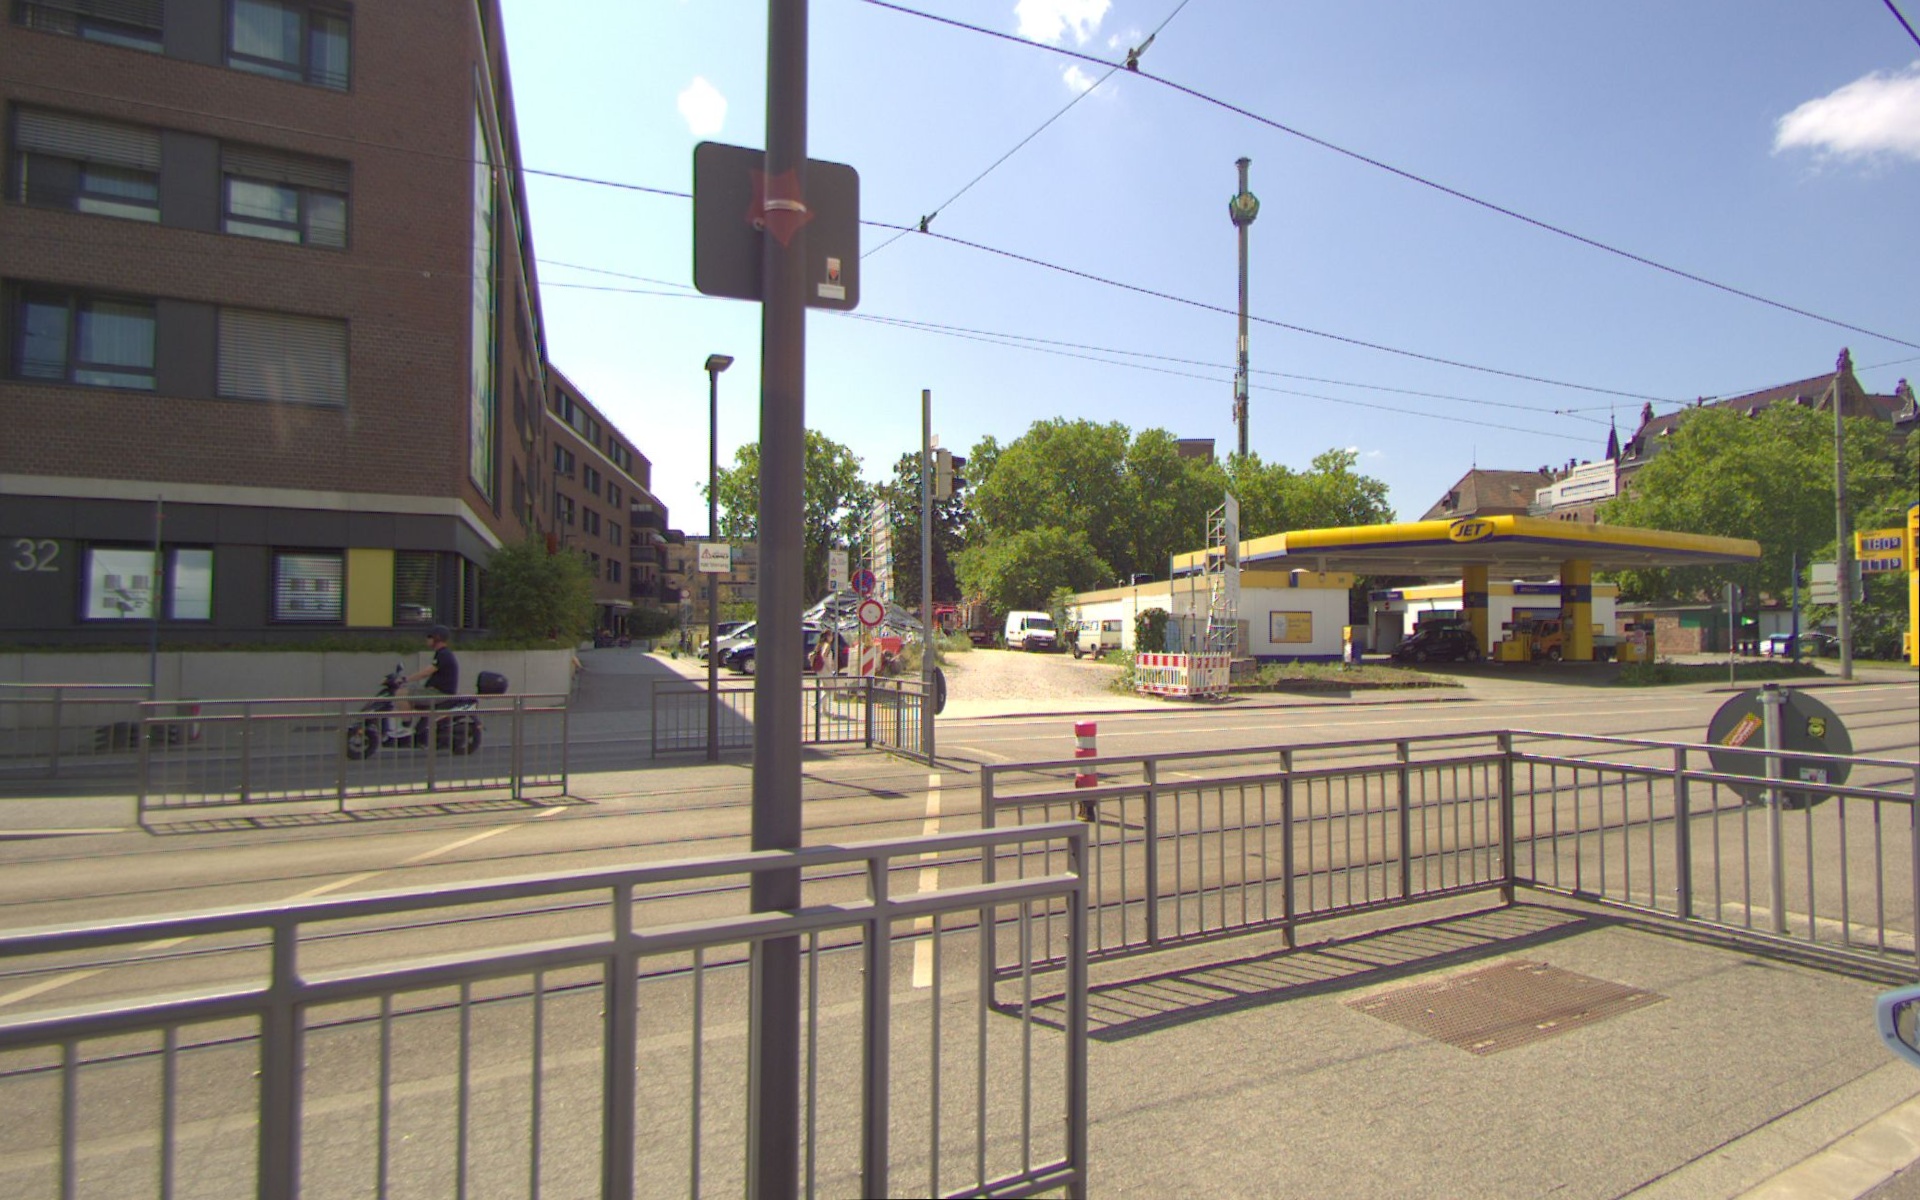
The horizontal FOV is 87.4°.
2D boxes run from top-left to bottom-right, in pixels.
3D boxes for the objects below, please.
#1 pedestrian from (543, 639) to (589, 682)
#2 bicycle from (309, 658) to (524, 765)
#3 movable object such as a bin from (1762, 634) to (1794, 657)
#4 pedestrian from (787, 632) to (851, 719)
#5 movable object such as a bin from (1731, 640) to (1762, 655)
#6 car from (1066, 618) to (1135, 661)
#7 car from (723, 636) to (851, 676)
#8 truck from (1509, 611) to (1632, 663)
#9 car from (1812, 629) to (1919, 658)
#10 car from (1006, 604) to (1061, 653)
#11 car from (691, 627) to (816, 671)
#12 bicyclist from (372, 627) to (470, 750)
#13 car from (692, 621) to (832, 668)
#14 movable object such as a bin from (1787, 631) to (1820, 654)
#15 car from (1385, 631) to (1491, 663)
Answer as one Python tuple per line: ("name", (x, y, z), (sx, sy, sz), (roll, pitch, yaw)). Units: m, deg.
("pedestrian", (-10.856, 1.659, 27.692), (0.909, 1.145, 0.761), (0, -2, 12))
("bicycle", (-6.975, 1.392, 13.000), (2.361, 1.238, 0.813), (1, -3, -30))
("movable object such as a bin", (49.761, 2.760, 61.100), (0.747, 1.372, 1.342), (1, -2, -21))
("pedestrian", (-2.751, 1.451, 19.568), (0.988, 1.617, 0.756), (1, 1, -31))
("movable object such as a bin", (49.287, 2.987, 62.950), (0.745, 0.885, 1.345), (1, -2, -13))
("car", (6.744, 1.915, 48.698), (1.862, 1.962, 4.243), (1, -2, -15))
("car", (-5.547, 1.783, 32.184), (3.930, 1.176, 1.824), (1, 0, -12))
("truck", (30.787, 1.870, 50.749), (5.103, 2.531, 1.999), (1, -2, -3))
("car", (52.299, 2.512, 58.052), (4.245, 1.611, 2.002), (0, -2, 11))
("car", (4.349, 1.697, 60.170), (2.084, 2.811, 4.488), (1, -2, -13))
("car", (-7.069, 1.666, 34.345), (3.942, 1.439, 1.666), (1, -2, -22))
("bicyclist", (-6.972, 1.112, 12.987), (1.054, 1.524, 0.754), (1, -2, -32))
("car", (-7.348, 1.631, 37.264), (4.769, 1.672, 2.111), (1, -2, -23))
("movable object such as a bin", (49.847, 2.514, 59.343), (0.751, 1.372, 1.335), (1, -2, -35))
("car", (23.429, 2.311, 49.338), (4.260, 1.498, 1.999), (0, -2, -5))
